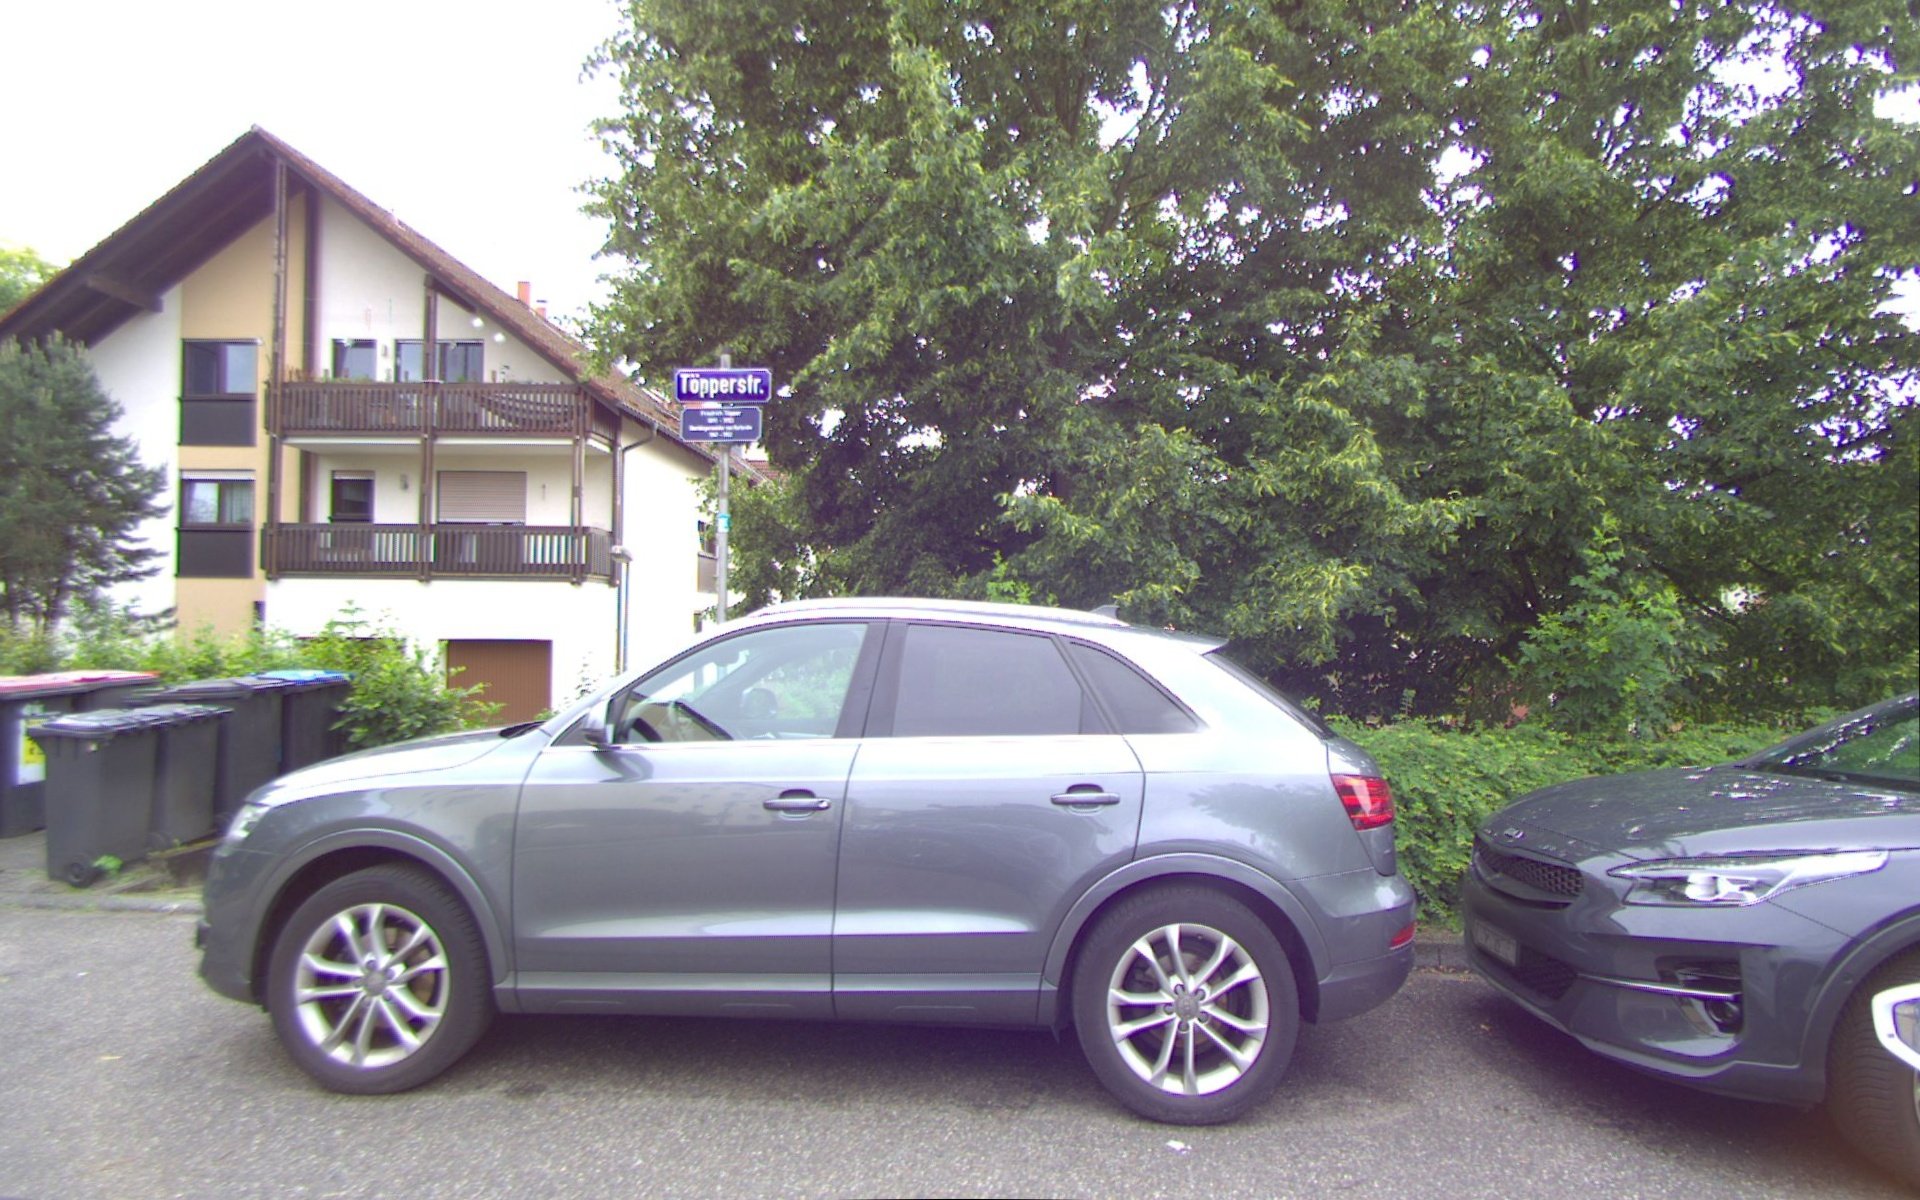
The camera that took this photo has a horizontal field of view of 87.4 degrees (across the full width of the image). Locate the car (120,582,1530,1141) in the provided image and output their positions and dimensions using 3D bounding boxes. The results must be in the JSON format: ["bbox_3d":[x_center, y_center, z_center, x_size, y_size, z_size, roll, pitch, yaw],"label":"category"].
[{"bbox_3d":[-0.402,0.799,3.862,4.166,1.551,1.748,1,-3,2],"label":"car"}]

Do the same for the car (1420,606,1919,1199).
[{"bbox_3d":[3.963,0.861,3.304,4.110,1.551,1.749,1,-3,7],"label":"car"}]

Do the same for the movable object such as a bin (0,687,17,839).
[{"bbox_3d":[-6.674,1.085,6.634,0.528,1.007,0.337,2,-1,0],"label":"movable object such as a bin"}]

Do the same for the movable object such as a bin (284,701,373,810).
[{"bbox_3d":[-5.014,1.226,7.987,0.451,0.808,0.379,1,-1,2],"label":"movable object such as a bin"}]

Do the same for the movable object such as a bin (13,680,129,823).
[{"bbox_3d":[-6.627,1.116,7.499,0.528,1.007,0.337,2,-1,0],"label":"movable object such as a bin"}]

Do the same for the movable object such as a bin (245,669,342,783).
[{"bbox_3d":[-5.016,0.936,7.574,0.451,0.808,0.379,2,-1,2],"label":"movable object such as a bin"}]

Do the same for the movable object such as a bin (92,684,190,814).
[{"bbox_3d":[-6.121,1.103,7.518,0.379,0.913,0.379,2,-1,0],"label":"movable object such as a bin"}]

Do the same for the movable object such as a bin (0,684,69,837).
[{"bbox_3d":[-6.633,1.104,6.990,0.528,1.007,0.337,2,-1,0],"label":"movable object such as a bin"}]
